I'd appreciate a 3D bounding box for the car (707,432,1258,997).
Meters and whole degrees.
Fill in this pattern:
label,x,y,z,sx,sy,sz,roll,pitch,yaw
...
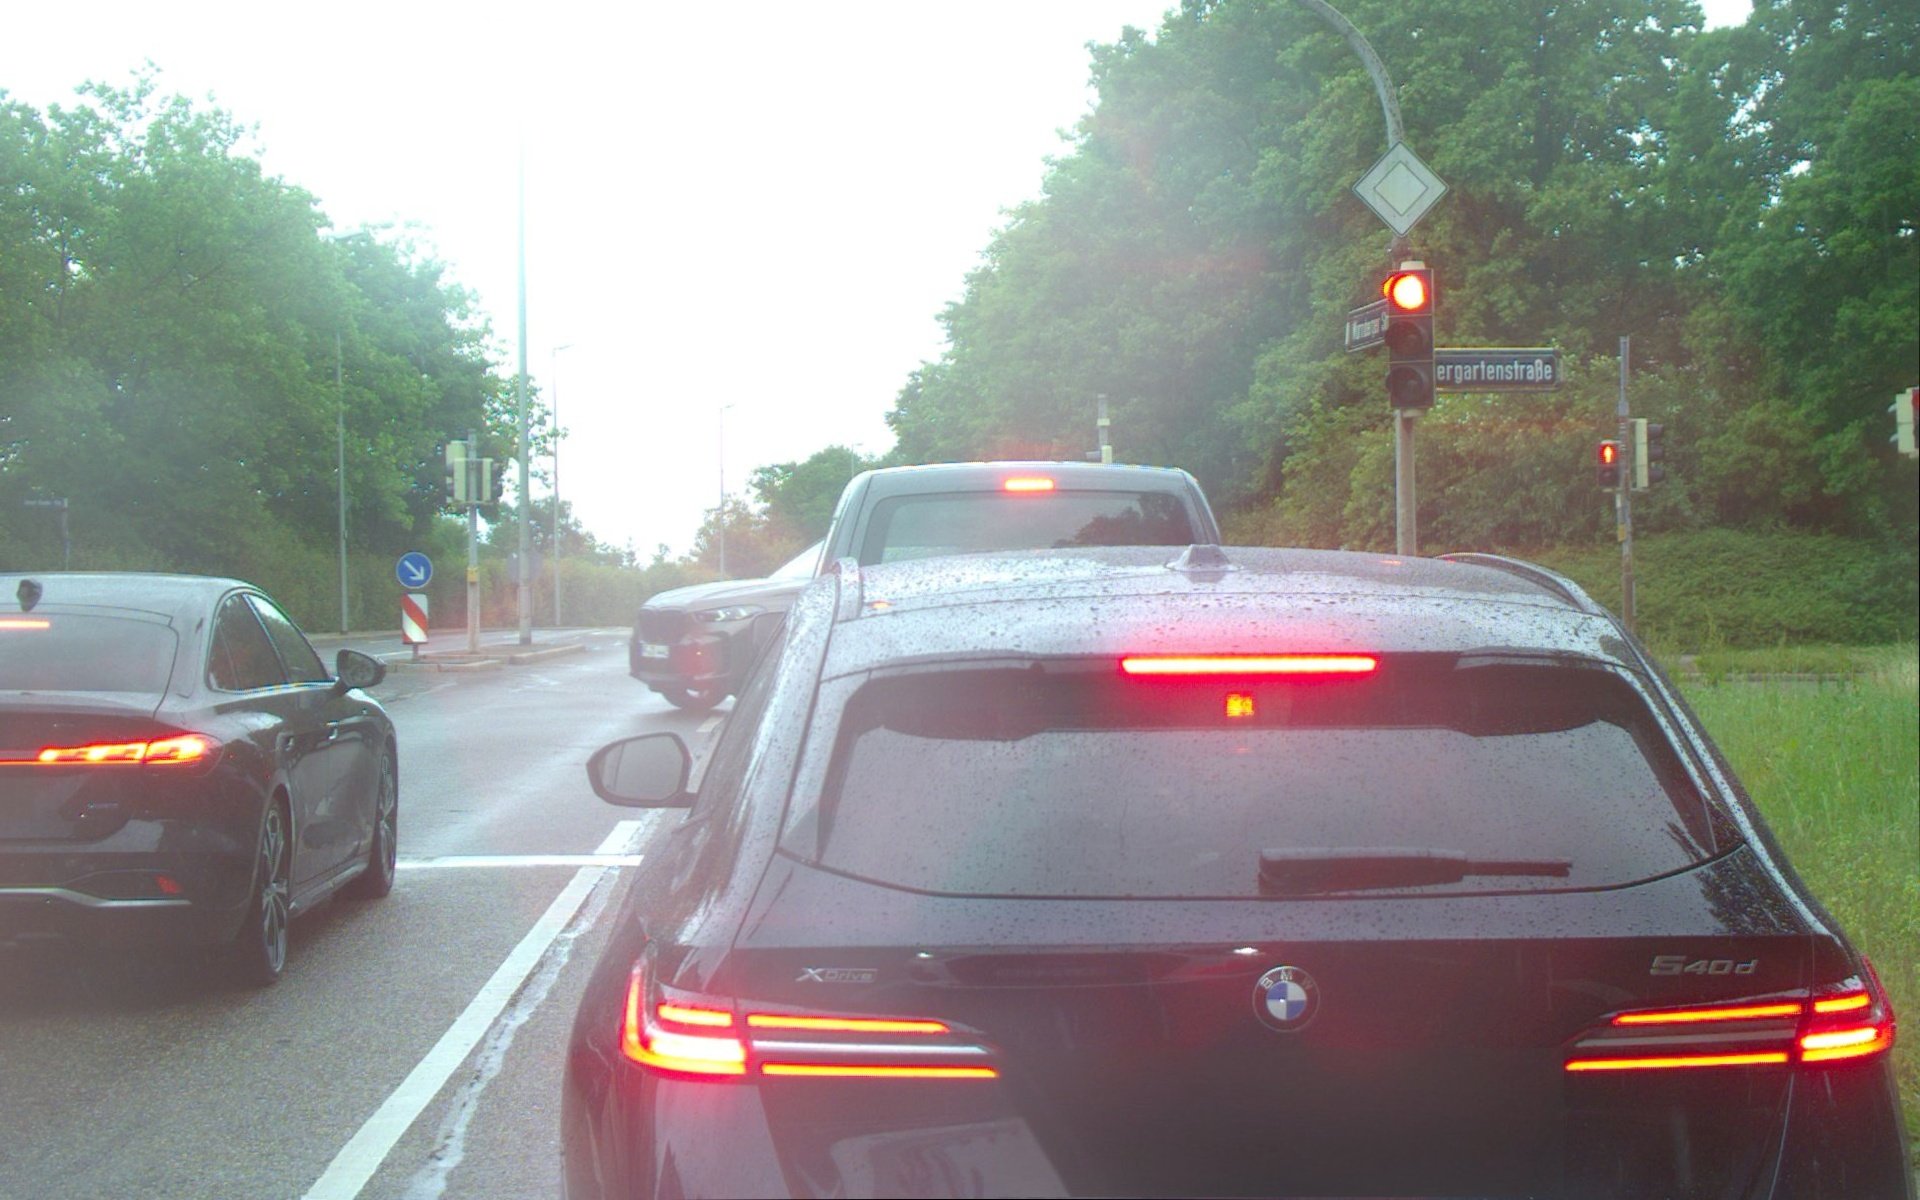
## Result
label,x,y,z,sx,sy,sz,roll,pitch,yaw
car,0.071,0.366,13.367,1.818,1.862,3.952,0,0,0

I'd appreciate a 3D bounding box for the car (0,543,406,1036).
label,x,y,z,sx,sy,sz,roll,pitch,yaw
car,-3.375,0.611,12.980,1.993,1.522,4.328,-2,0,-3

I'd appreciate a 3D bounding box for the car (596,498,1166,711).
label,x,y,z,sx,sy,sz,roll,pitch,yaw
car,-0.709,0.007,31.101,4.701,1.711,2.000,-2,1,-24

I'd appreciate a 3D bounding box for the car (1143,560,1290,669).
label,x,y,z,sx,sy,sz,roll,pitch,yaw
car,3.868,0.200,52.434,1.873,1.537,3.952,-2,0,0

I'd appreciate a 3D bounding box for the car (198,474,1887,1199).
label,x,y,z,sx,sy,sz,roll,pitch,yaw
car,0.198,0.642,6.178,1.898,1.546,4.614,0,0,3
